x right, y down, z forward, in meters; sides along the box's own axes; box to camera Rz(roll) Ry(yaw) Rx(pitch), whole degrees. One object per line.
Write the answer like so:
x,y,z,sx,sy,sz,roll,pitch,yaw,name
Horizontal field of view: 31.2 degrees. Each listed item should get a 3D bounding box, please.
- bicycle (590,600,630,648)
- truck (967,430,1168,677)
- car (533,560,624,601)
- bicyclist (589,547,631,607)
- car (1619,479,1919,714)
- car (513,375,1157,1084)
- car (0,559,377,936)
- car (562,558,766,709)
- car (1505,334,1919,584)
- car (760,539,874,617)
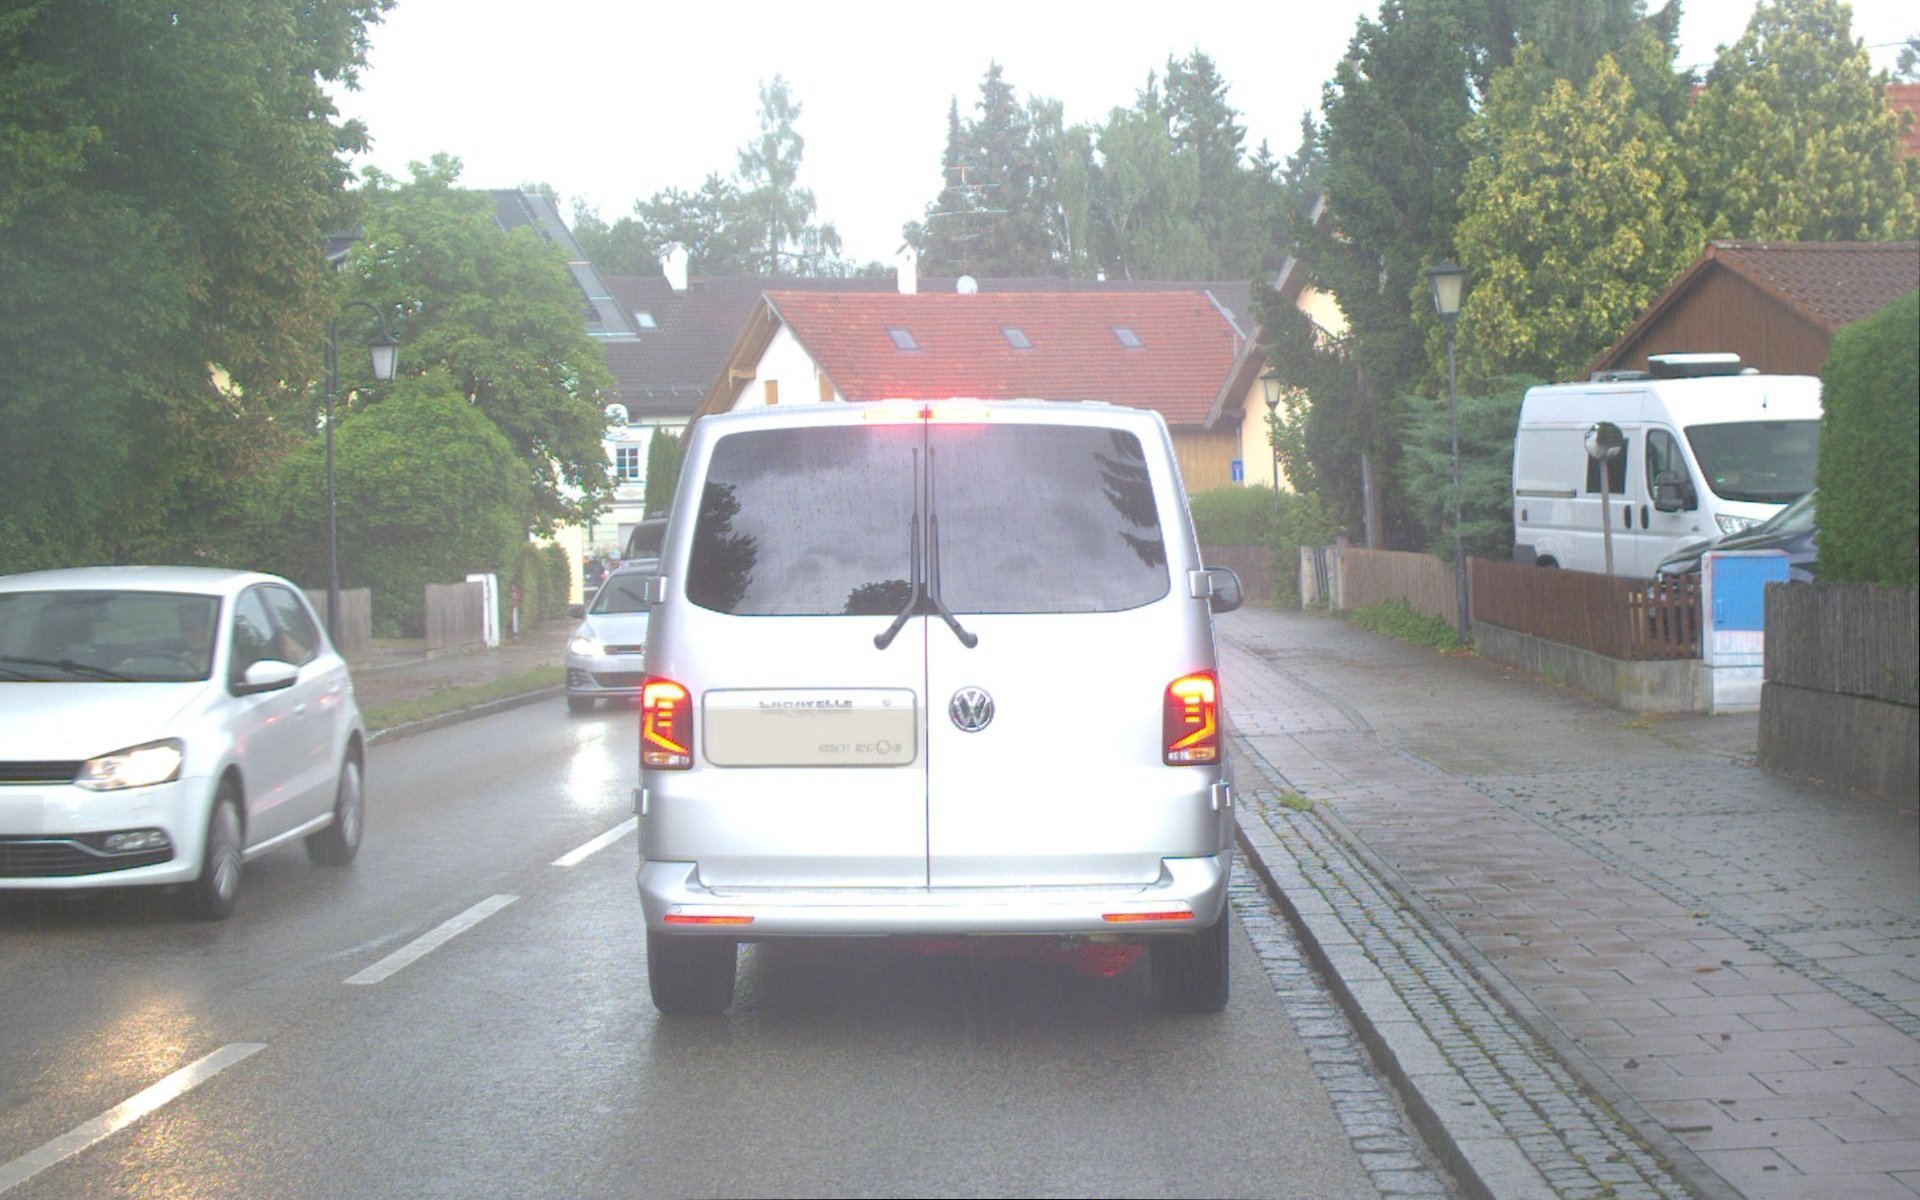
-6.005,0.405,59.014,0.456,0.796,1.977,0,1,1,bicycle
1.387,-0.587,46.125,2.475,3.063,6.296,1,0,1,truck
-12.477,-0.648,112.345,1.780,1.306,3.776,1,0,-26,car
-6.014,-0.392,59.097,0.587,1.018,1.060,0,1,1,bicyclist
7.543,-0.078,27.695,4.093,1.745,1.695,-1,3,-2,car
-0.250,0.362,11.853,1.801,2.007,3.999,1,0,4,car
-3.750,0.558,15.002,1.618,1.439,3.670,0,0,3,car
-2.972,0.319,35.191,1.716,1.437,4.000,1,0,0,car
7.055,-1.248,32.802,1.993,2.166,4.954,1,0,-12,car
-3.862,-0.580,92.055,1.993,2.007,4.001,1,0,-19,car
